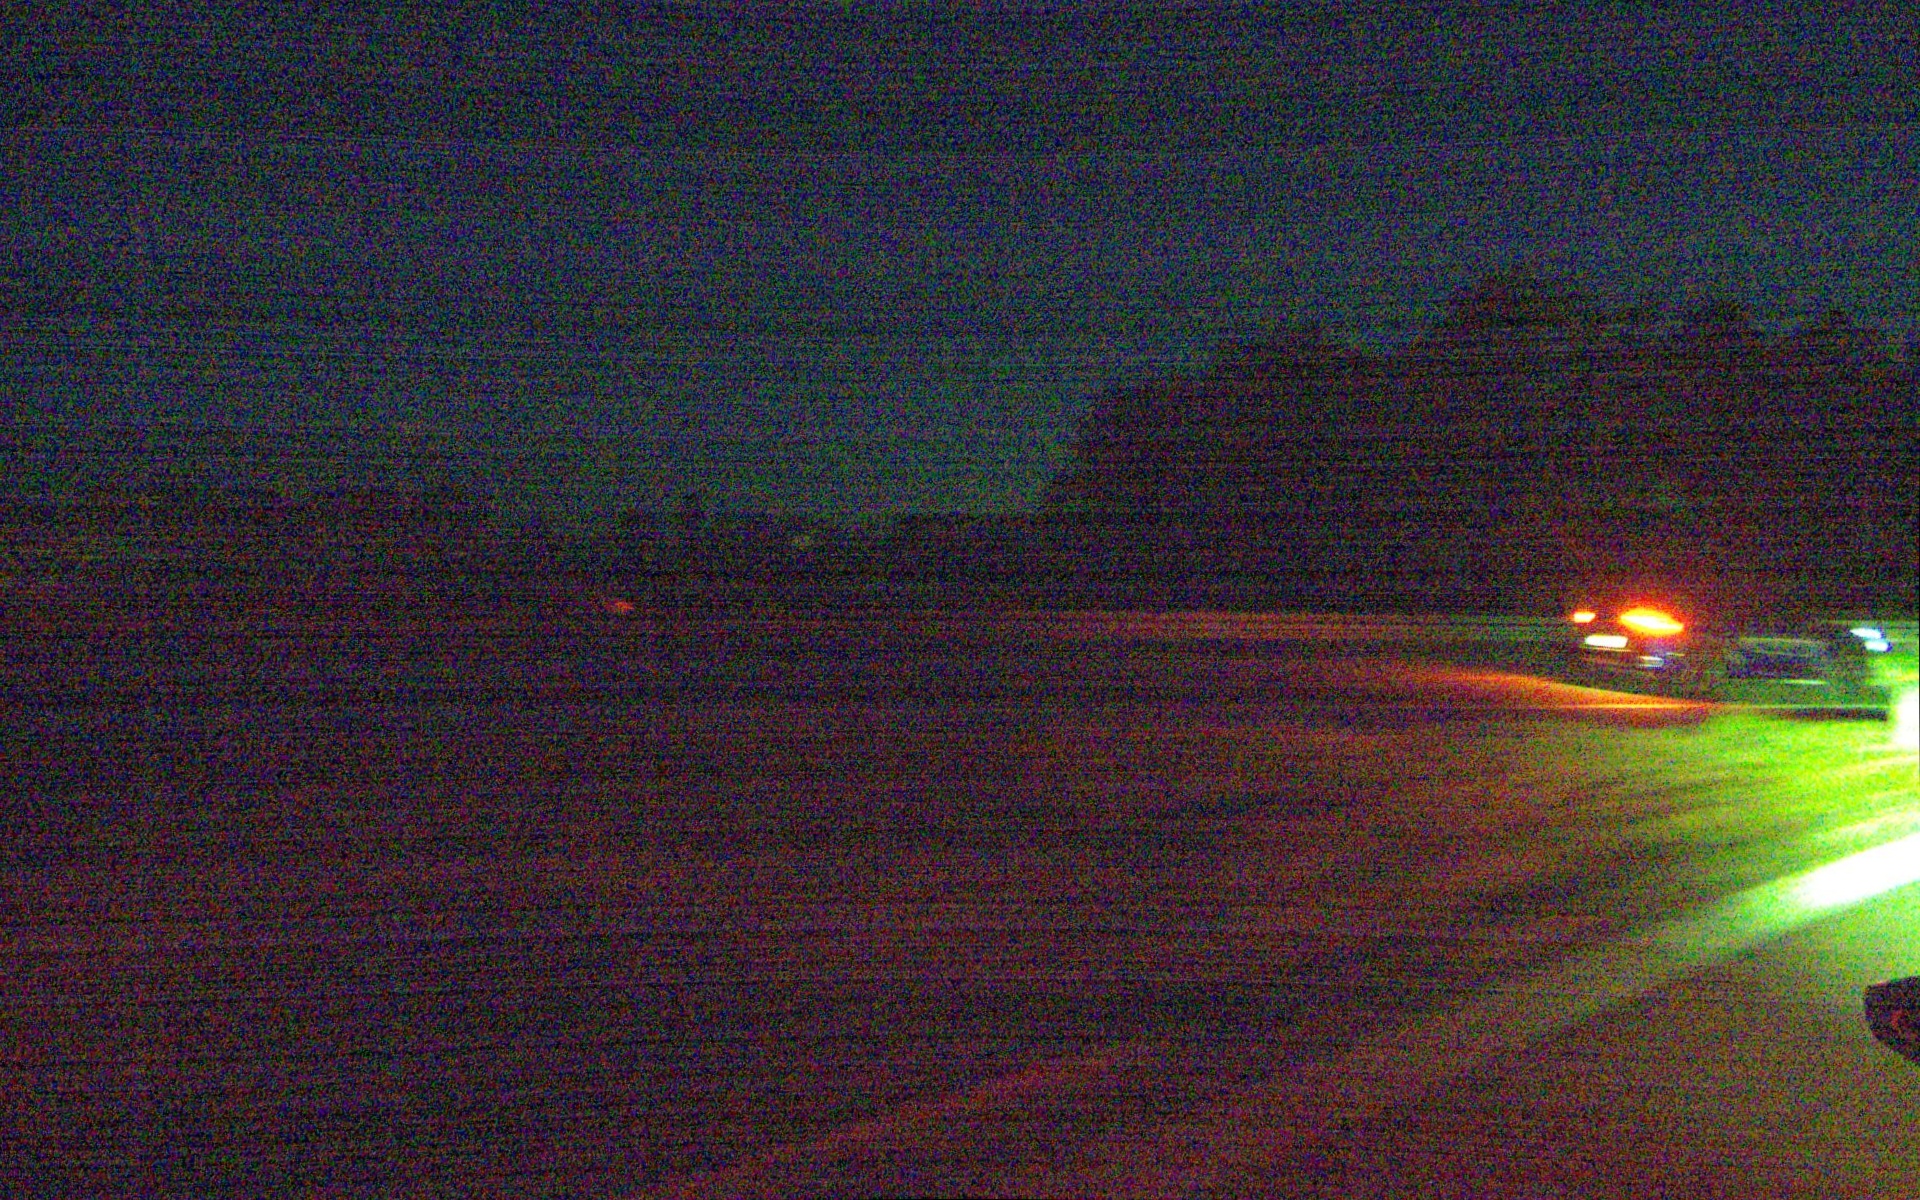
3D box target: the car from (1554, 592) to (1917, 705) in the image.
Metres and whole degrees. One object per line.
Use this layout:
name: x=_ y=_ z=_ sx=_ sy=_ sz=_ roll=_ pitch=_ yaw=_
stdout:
car: x=12.163 y=0.733 z=15.888 sx=4.559 sy=1.630 sz=1.943 roll=1 pitch=1 yaw=-9
